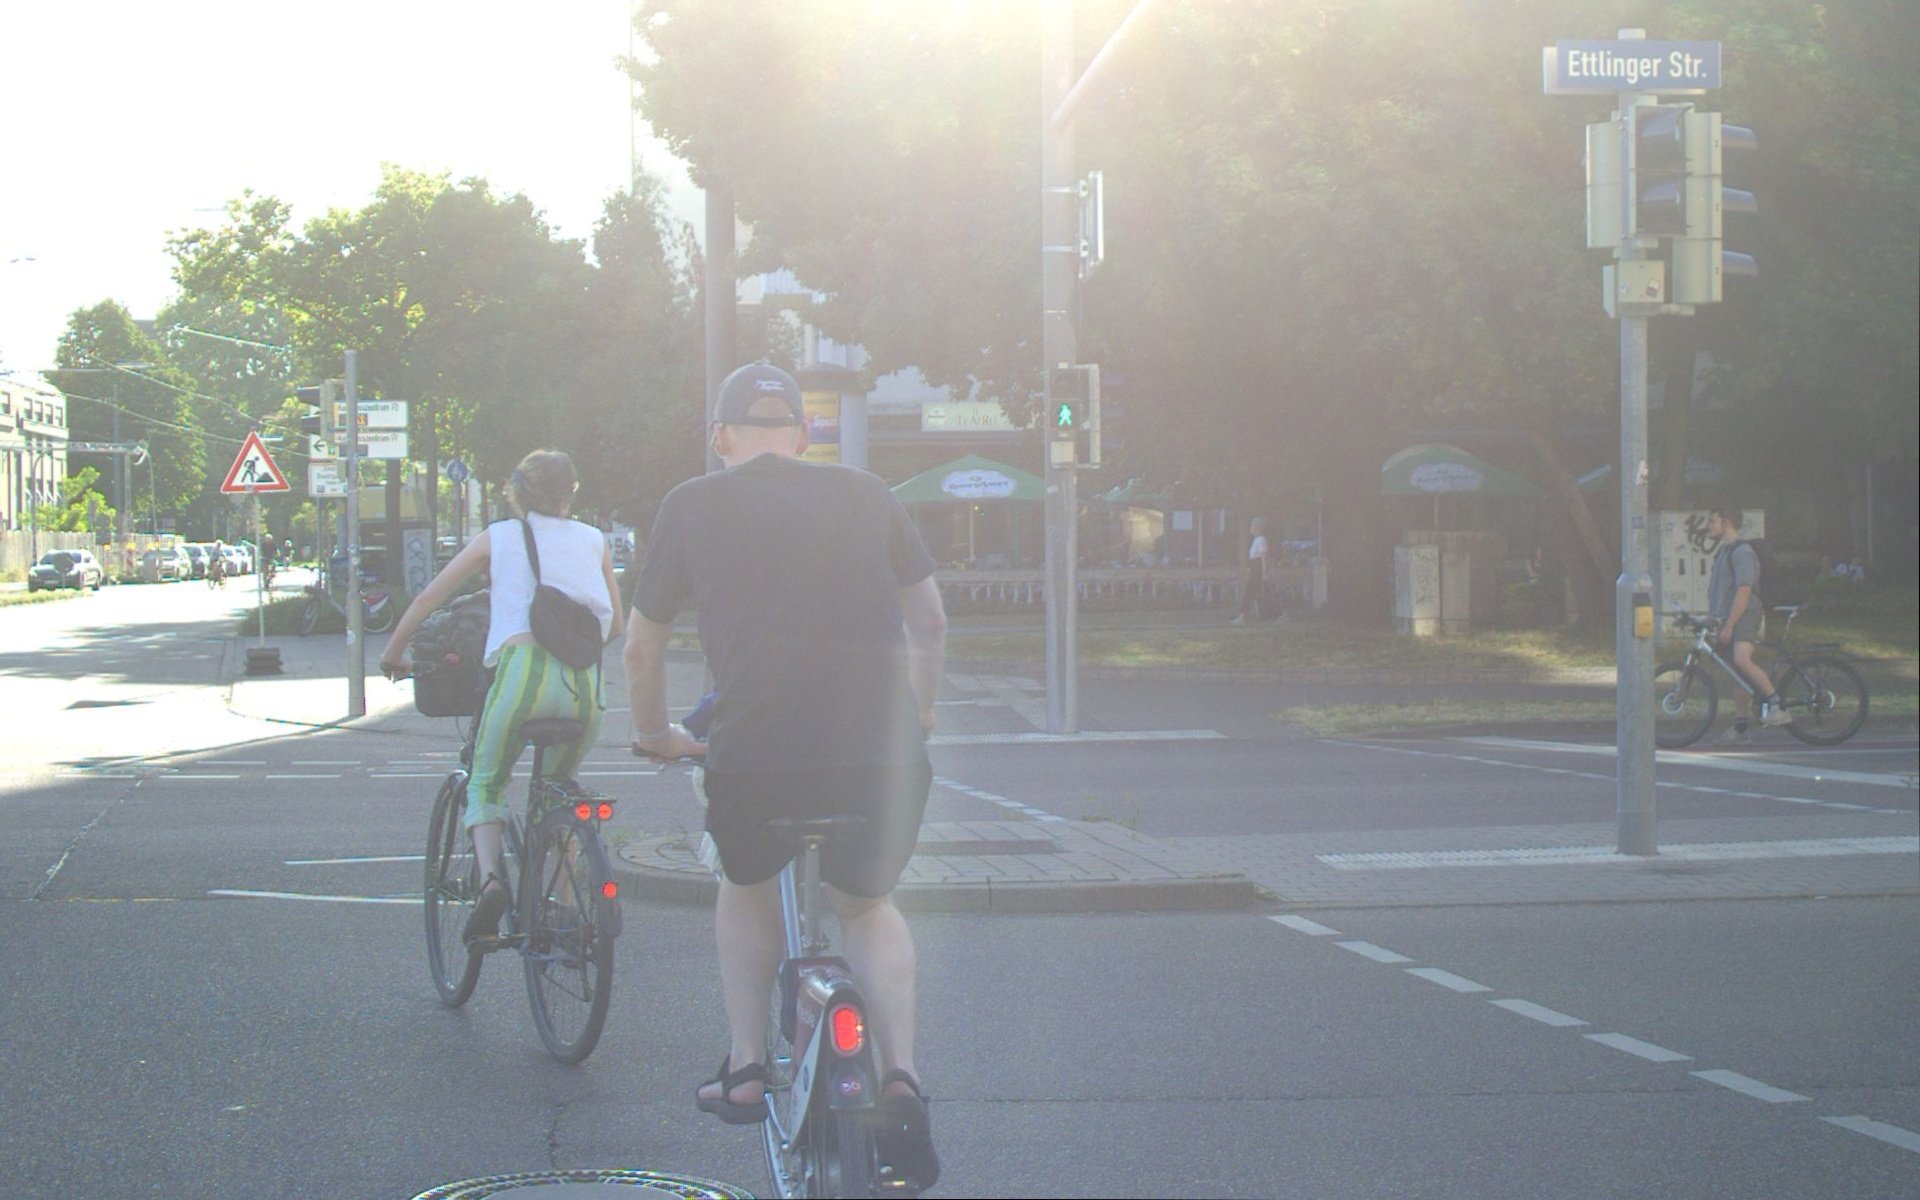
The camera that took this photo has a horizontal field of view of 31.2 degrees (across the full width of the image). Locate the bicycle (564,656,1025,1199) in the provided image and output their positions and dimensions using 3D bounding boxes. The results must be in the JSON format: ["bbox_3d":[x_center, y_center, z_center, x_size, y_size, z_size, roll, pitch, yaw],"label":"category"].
[{"bbox_3d":[-0.372,0.765,6.899,0.775,1.235,2.021,1,1,-5],"label":"bicycle"}]

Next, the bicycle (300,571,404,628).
[{"bbox_3d":[-9.786,-0.013,55.291,1.600,0.886,0.770,-1,1,-13],"label":"bicycle"}]

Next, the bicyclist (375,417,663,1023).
[{"bbox_3d":[-1.271,0.321,10.051,0.773,1.684,0.925,1,2,-5],"label":"bicyclist"}]

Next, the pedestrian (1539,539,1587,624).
[{"bbox_3d":[9.600,-0.299,54.773,0.597,1.335,0.734,-1,1,-2],"label":"pedestrian"}]

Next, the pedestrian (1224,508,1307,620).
[{"bbox_3d":[4.808,-0.575,54.061,1.211,1.734,0.894,-1,1,11],"label":"pedestrian"}]

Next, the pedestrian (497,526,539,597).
[{"bbox_3d":[-11.009,-0.960,85.632,0.781,1.734,0.895,-1,1,-24],"label":"pedestrian"}]

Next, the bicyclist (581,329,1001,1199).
[{"bbox_3d":[-0.349,0.373,6.788,0.752,1.737,0.839,1,0,-5],"label":"bicyclist"}]

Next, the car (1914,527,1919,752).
[{"bbox_3d":[8.956,0.256,22.994,4.533,1.555,2.000,-1,1,-5],"label":"car"}]

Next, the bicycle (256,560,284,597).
[{"bbox_3d":[-21.920,-0.692,109.196,0.661,1.152,1.809,-1,1,-5],"label":"bicycle"}]

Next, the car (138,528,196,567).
[{"bbox_3d":[-33.739,-2.231,146.350,1.993,1.634,4.001,-1,1,-7],"label":"car"}]

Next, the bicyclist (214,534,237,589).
[{"bbox_3d":[-24.494,-1.285,114.646,0.635,1.846,0.783,-1,1,-5],"label":"bicyclist"}]

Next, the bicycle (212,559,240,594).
[{"bbox_3d":[-24.511,-0.800,114.819,0.661,1.152,1.809,-1,1,-5],"label":"bicycle"}]

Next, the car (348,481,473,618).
[{"bbox_3d":[-12.314,-1.133,77.359,2.591,2.942,5.090,-1,1,-7],"label":"car"}]

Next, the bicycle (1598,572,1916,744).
[{"bbox_3d":[5.884,0.428,25.490,2.242,1.235,0.778,-1,0,10],"label":"bicycle"}]

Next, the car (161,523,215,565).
[{"bbox_3d":[-34.820,-2.515,155.087,1.993,1.875,4.001,-1,1,-7],"label":"car"}]

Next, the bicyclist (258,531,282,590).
[{"bbox_3d":[-21.913,-1.259,109.199,0.664,1.846,0.783,-1,1,-5],"label":"bicyclist"}]

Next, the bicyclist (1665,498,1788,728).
[{"bbox_3d":[5.681,0.097,25.523,0.836,1.673,0.783,-1,0,10],"label":"bicyclist"}]

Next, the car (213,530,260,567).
[{"bbox_3d":[-36.862,-2.631,175.261,1.993,1.875,4.001,-1,1,-7],"label":"car"}]

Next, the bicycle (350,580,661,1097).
[{"bbox_3d":[-1.266,0.610,9.984,0.775,1.235,2.313,1,2,-5],"label":"bicycle"}]

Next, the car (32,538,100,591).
[{"bbox_3d":[-34.001,-1.374,130.842,1.993,1.963,4.001,-1,1,-7],"label":"car"}]

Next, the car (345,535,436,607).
[{"bbox_3d":[-11.741,-0.607,71.051,1.697,1.423,4.001,-1,1,-7],"label":"car"}]

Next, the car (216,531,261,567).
[{"bbox_3d":[-37.936,-2.670,180.932,1.993,1.875,4.001,-1,1,-7],"label":"car"}]
